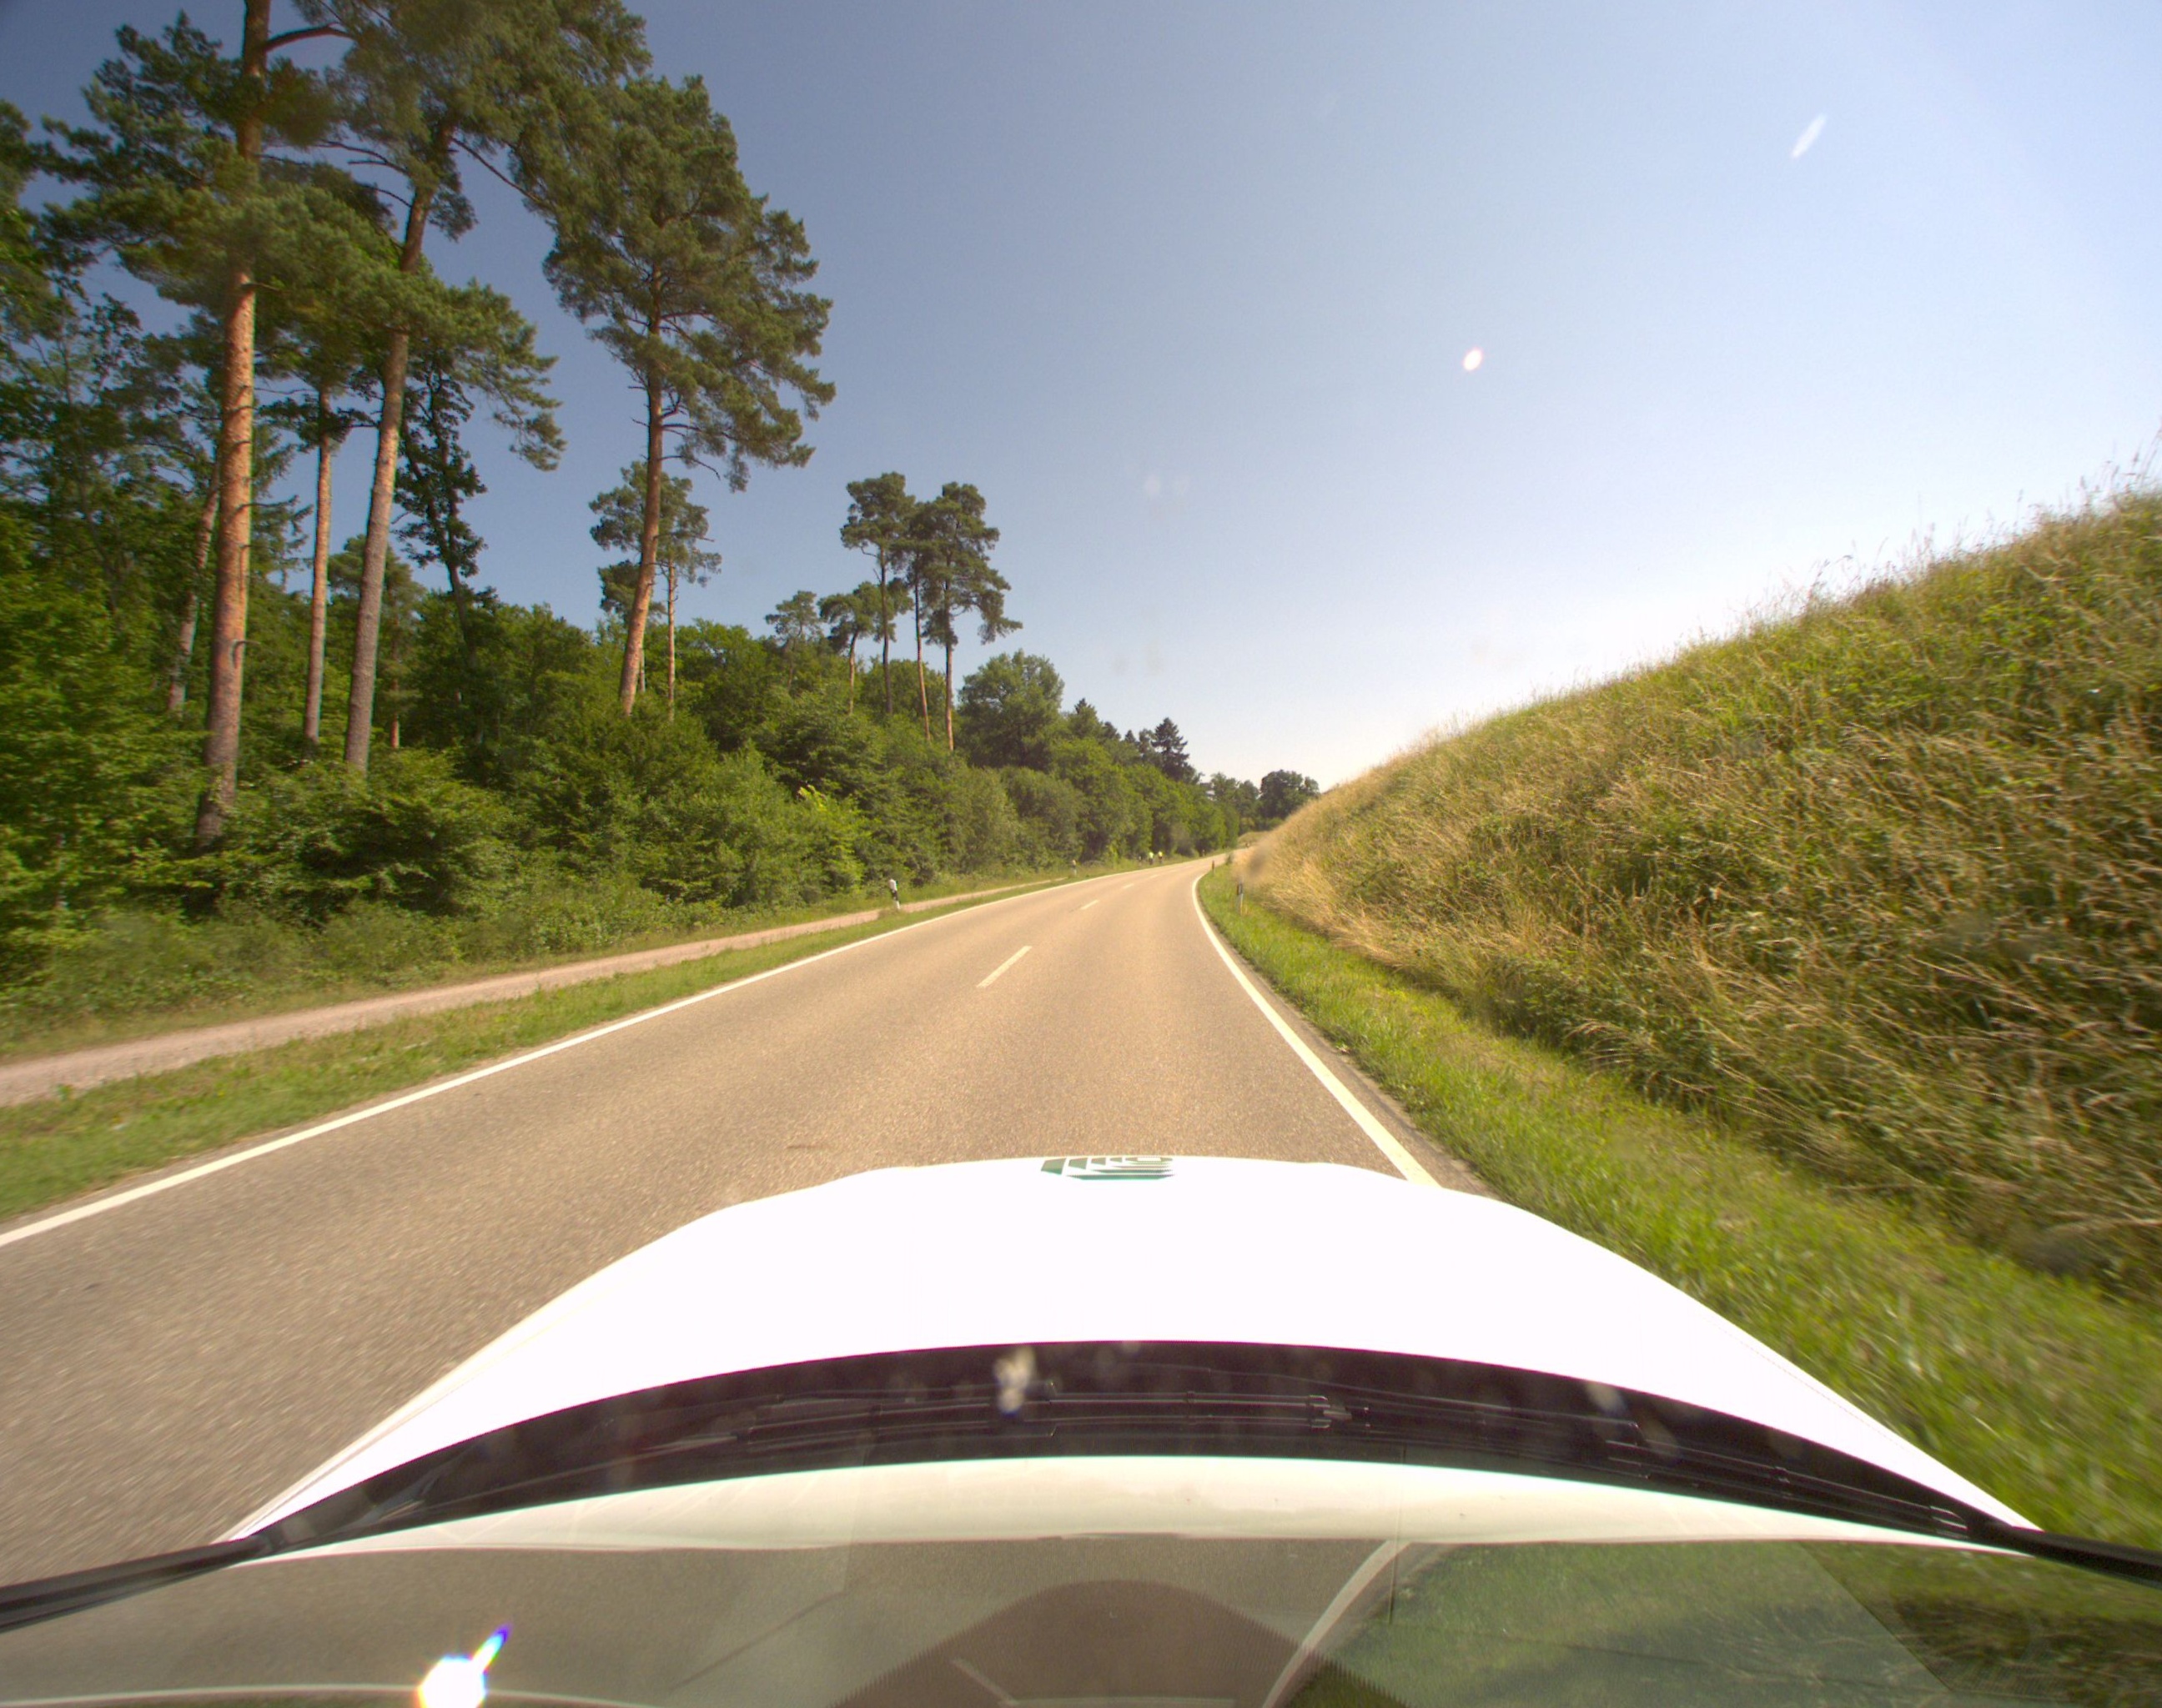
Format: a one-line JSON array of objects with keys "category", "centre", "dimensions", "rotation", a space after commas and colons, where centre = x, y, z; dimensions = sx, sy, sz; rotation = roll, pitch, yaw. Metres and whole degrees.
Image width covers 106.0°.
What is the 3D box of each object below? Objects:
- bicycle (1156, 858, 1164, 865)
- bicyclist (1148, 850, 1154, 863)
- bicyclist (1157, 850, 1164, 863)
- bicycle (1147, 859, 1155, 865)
[{"category": "bicycle", "centre": [9.291, 0.835, 95.570], "dimensions": [0.635, 0.788, 2.145], "rotation": [-3, 0, 15]}, {"category": "bicyclist", "centre": [8.276, 0.301, 95.999], "dimensions": [0.600, 1.415, 0.705], "rotation": [-1, -1, 14]}, {"category": "bicyclist", "centre": [9.315, 0.301, 95.651], "dimensions": [0.600, 1.415, 0.705], "rotation": [-2, 0, 14]}, {"category": "bicycle", "centre": [8.277, 0.937, 95.965], "dimensions": [0.614, 0.681, 2.145], "rotation": [-3, 0, 15]}]
